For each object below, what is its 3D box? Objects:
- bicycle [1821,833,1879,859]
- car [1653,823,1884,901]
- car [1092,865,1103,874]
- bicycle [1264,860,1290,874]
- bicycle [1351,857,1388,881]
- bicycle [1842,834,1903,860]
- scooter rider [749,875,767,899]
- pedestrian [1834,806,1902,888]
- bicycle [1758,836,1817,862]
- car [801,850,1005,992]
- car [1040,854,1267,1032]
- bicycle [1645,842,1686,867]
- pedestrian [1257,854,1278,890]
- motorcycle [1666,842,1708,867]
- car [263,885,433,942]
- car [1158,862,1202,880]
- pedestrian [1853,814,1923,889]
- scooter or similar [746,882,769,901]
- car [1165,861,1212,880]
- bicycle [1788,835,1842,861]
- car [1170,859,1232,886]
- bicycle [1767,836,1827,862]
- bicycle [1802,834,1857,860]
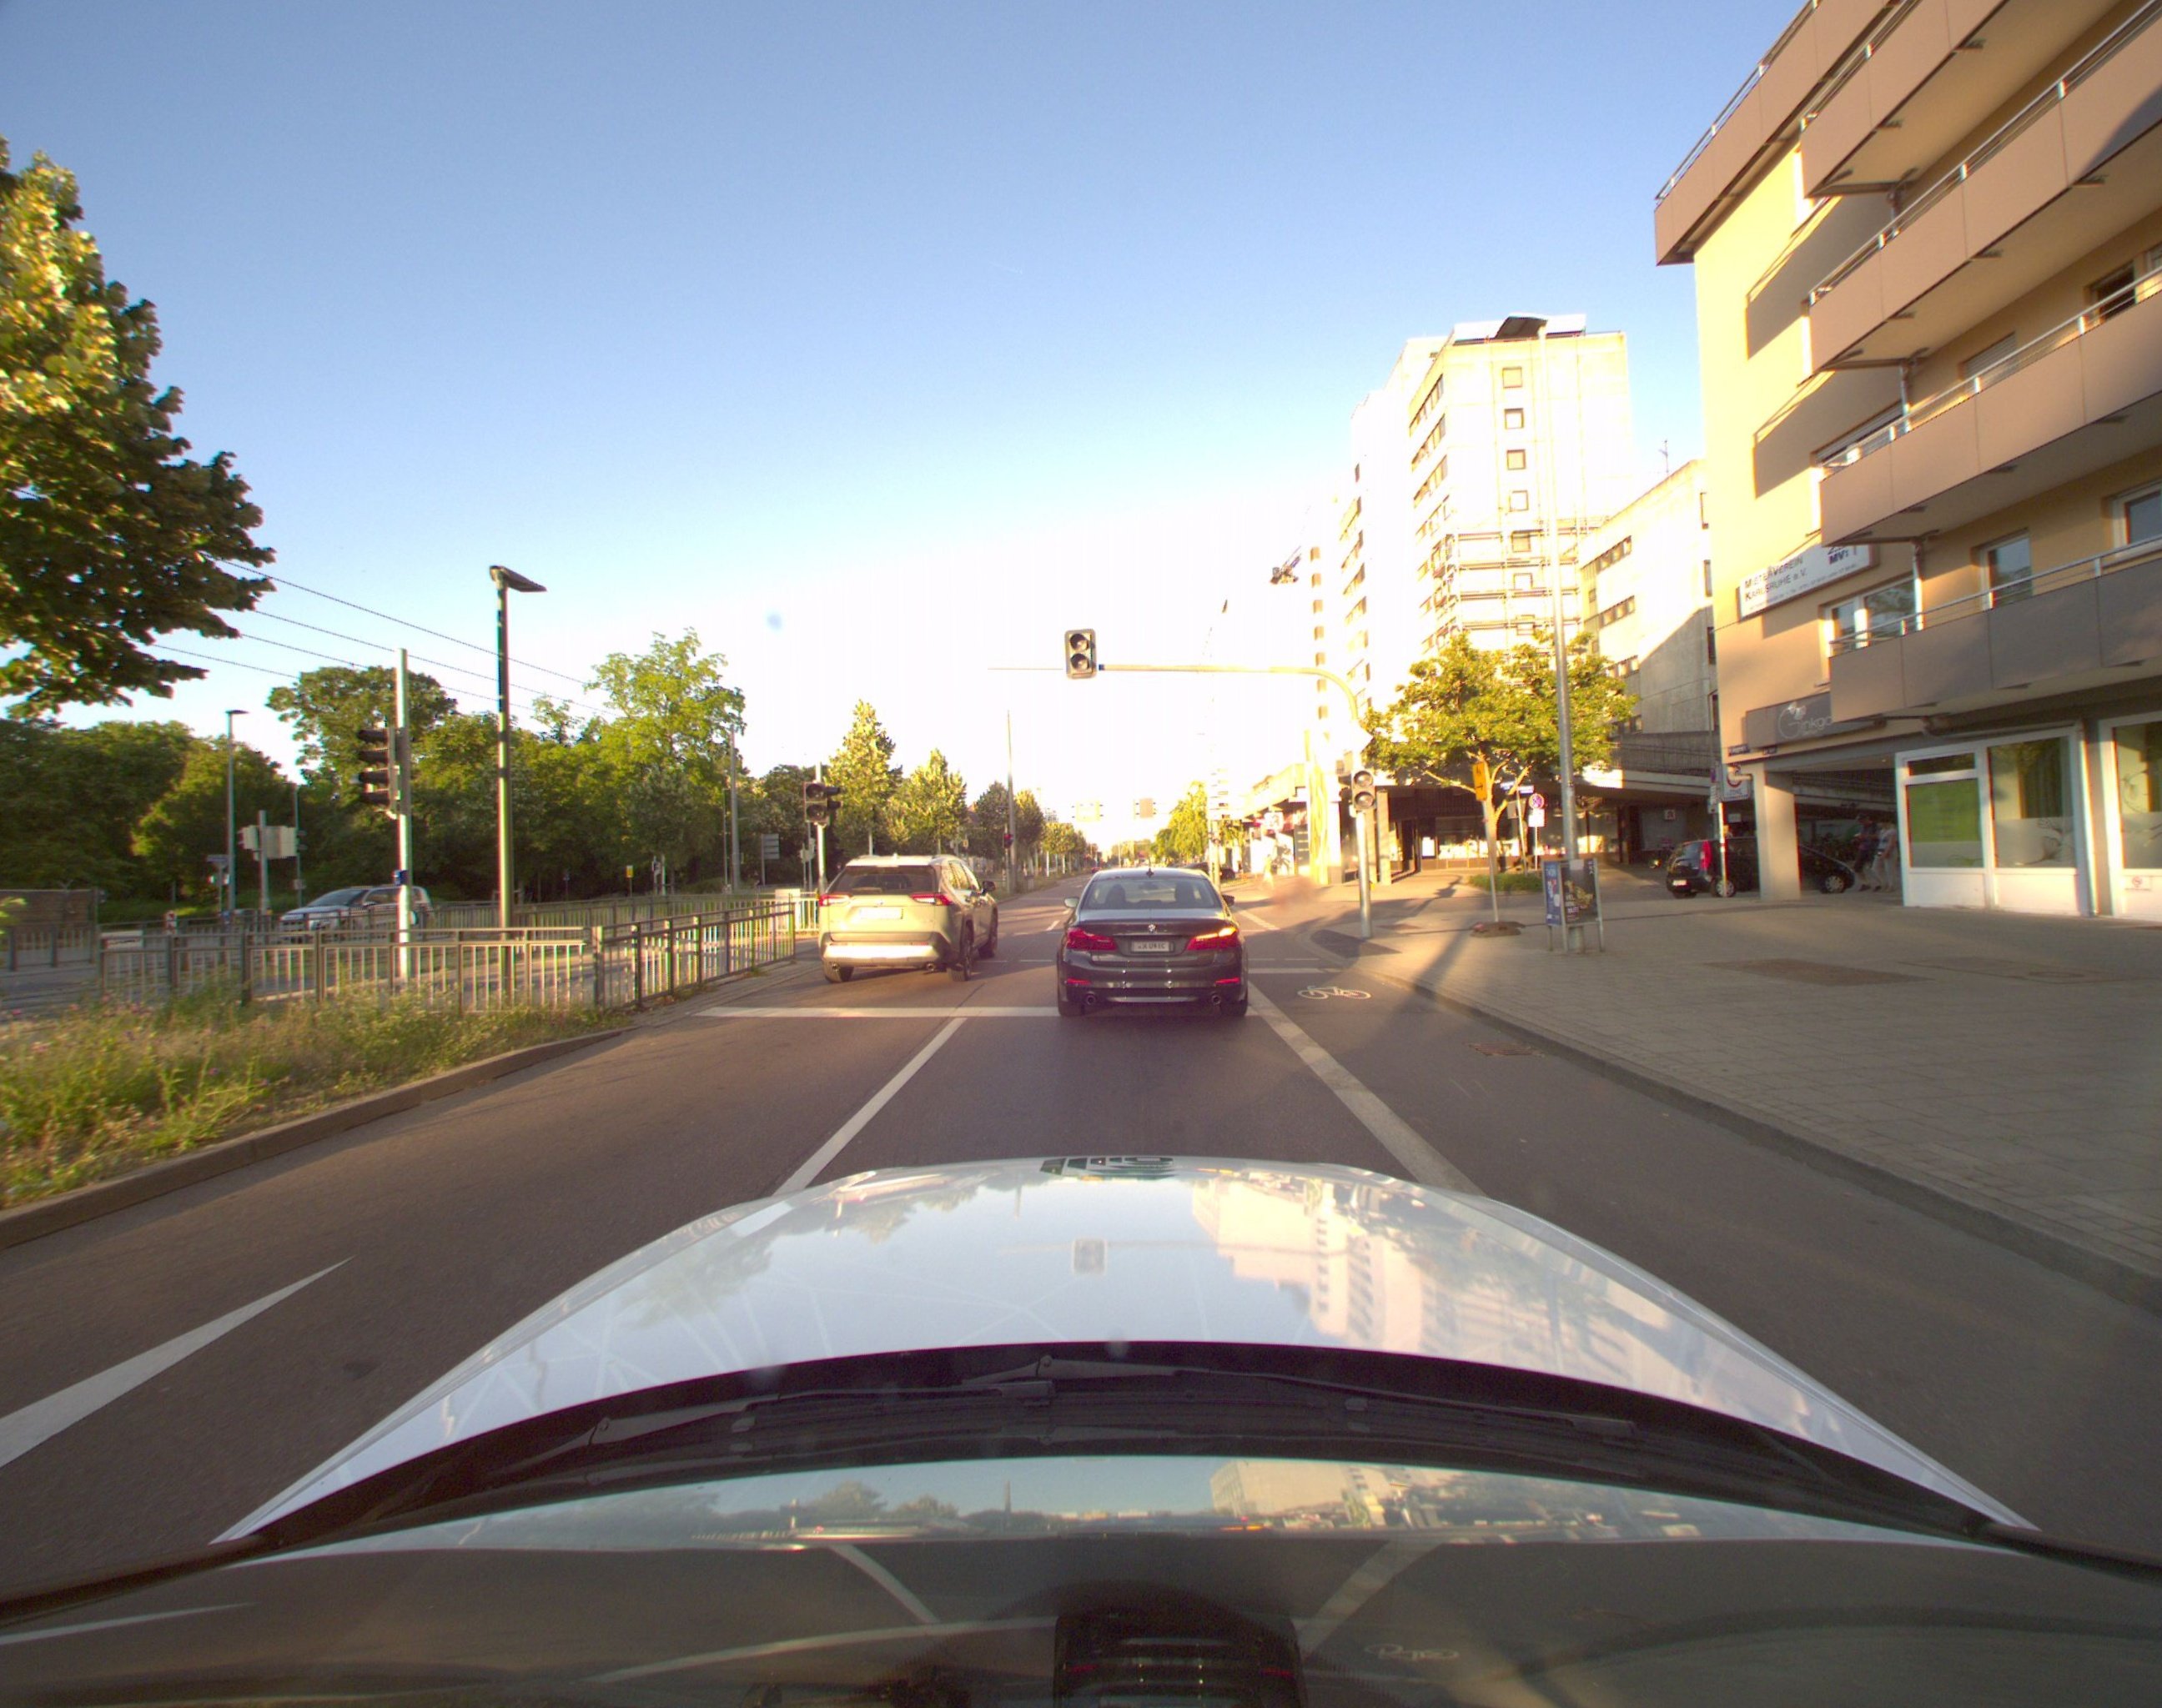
[{"bbox_3d":[33.764,-0.326,35.803,0.580,1.075,1.974,1,-2,-4],"label":"bicycle"},{"bbox_3d":[16.992,0.255,20.317,4.020,1.586,1.708,-4,-4,6],"label":"car"},{"bbox_3d":[2.977,2.757,145.947,1.971,1.433,4.845,-1,0,2],"label":"car"},{"bbox_3d":[16.272,1.109,67.650,2.005,1.149,0.692,0,-2,8],"label":"bicycle"},{"bbox_3d":[14.169,0.761,40.051,0.690,1.149,2.011,1,-2,-16],"label":"bicycle"},{"bbox_3d":[35.005,-0.300,36.036,0.581,1.075,1.970,1,-2,-9],"label":"bicycle"},{"bbox_3d":[-20.990,2.138,52.903,0.644,1.514,0.828,-3,-1,29],"label":"scooter rider"},{"bbox_3d":[18.134,-0.162,18.780,0.830,1.828,0.649,-3,-1,8],"label":"pedestrian"},{"bbox_3d":[31.536,-0.205,36.369,0.582,1.075,1.965,1,-2,-17],"label":"bicycle"},{"bbox_3d":[-2.328,0.785,11.851,1.847,1.658,4.270,-1,0,2],"label":"car"},{"bbox_3d":[0.715,0.767,9.269,1.924,1.481,4.525,-1,0,2],"label":"car"},{"bbox_3d":[26.689,0.043,37.221,0.578,1.075,1.979,1,-2,5],"label":"bicycle"},{"bbox_3d":[9.156,0.865,40.056,0.832,1.712,0.648,-2,-1,0],"label":"pedestrian"},{"bbox_3d":[27.347,0.038,36.788,0.642,1.075,1.879,1,-2,5],"label":"motorcycle"},{"bbox_3d":[-22.821,1.801,25.574,1.793,1.481,3.785,-2,-1,2],"label":"car"},{"bbox_3d":[10.210,1.711,83.939,4.284,1.658,1.841,-1,0,-33],"label":"car"},{"bbox_3d":[17.749,-0.050,17.927,0.832,1.586,0.648,-2,-1,0],"label":"pedestrian"},{"bbox_3d":[-20.974,2.415,52.867,0.507,1.153,1.342,-3,-1,29],"label":"scooter or similar"},{"bbox_3d":[10.234,1.593,77.720,4.285,1.658,1.841,-1,0,-34],"label":"car"},{"bbox_3d":[32.612,-0.238,36.217,0.579,1.075,1.975,1,-2,-2],"label":"bicycle"},{"bbox_3d":[8.201,1.242,55.390,4.291,1.658,1.838,-1,0,-41],"label":"car"},{"bbox_3d":[32.013,-0.221,36.430,0.583,1.075,1.963,1,-2,-21],"label":"bicycle"},{"bbox_3d":[33.173,-0.273,36.123,0.579,1.075,1.975,1,-2,-2],"label":"bicycle"}]
